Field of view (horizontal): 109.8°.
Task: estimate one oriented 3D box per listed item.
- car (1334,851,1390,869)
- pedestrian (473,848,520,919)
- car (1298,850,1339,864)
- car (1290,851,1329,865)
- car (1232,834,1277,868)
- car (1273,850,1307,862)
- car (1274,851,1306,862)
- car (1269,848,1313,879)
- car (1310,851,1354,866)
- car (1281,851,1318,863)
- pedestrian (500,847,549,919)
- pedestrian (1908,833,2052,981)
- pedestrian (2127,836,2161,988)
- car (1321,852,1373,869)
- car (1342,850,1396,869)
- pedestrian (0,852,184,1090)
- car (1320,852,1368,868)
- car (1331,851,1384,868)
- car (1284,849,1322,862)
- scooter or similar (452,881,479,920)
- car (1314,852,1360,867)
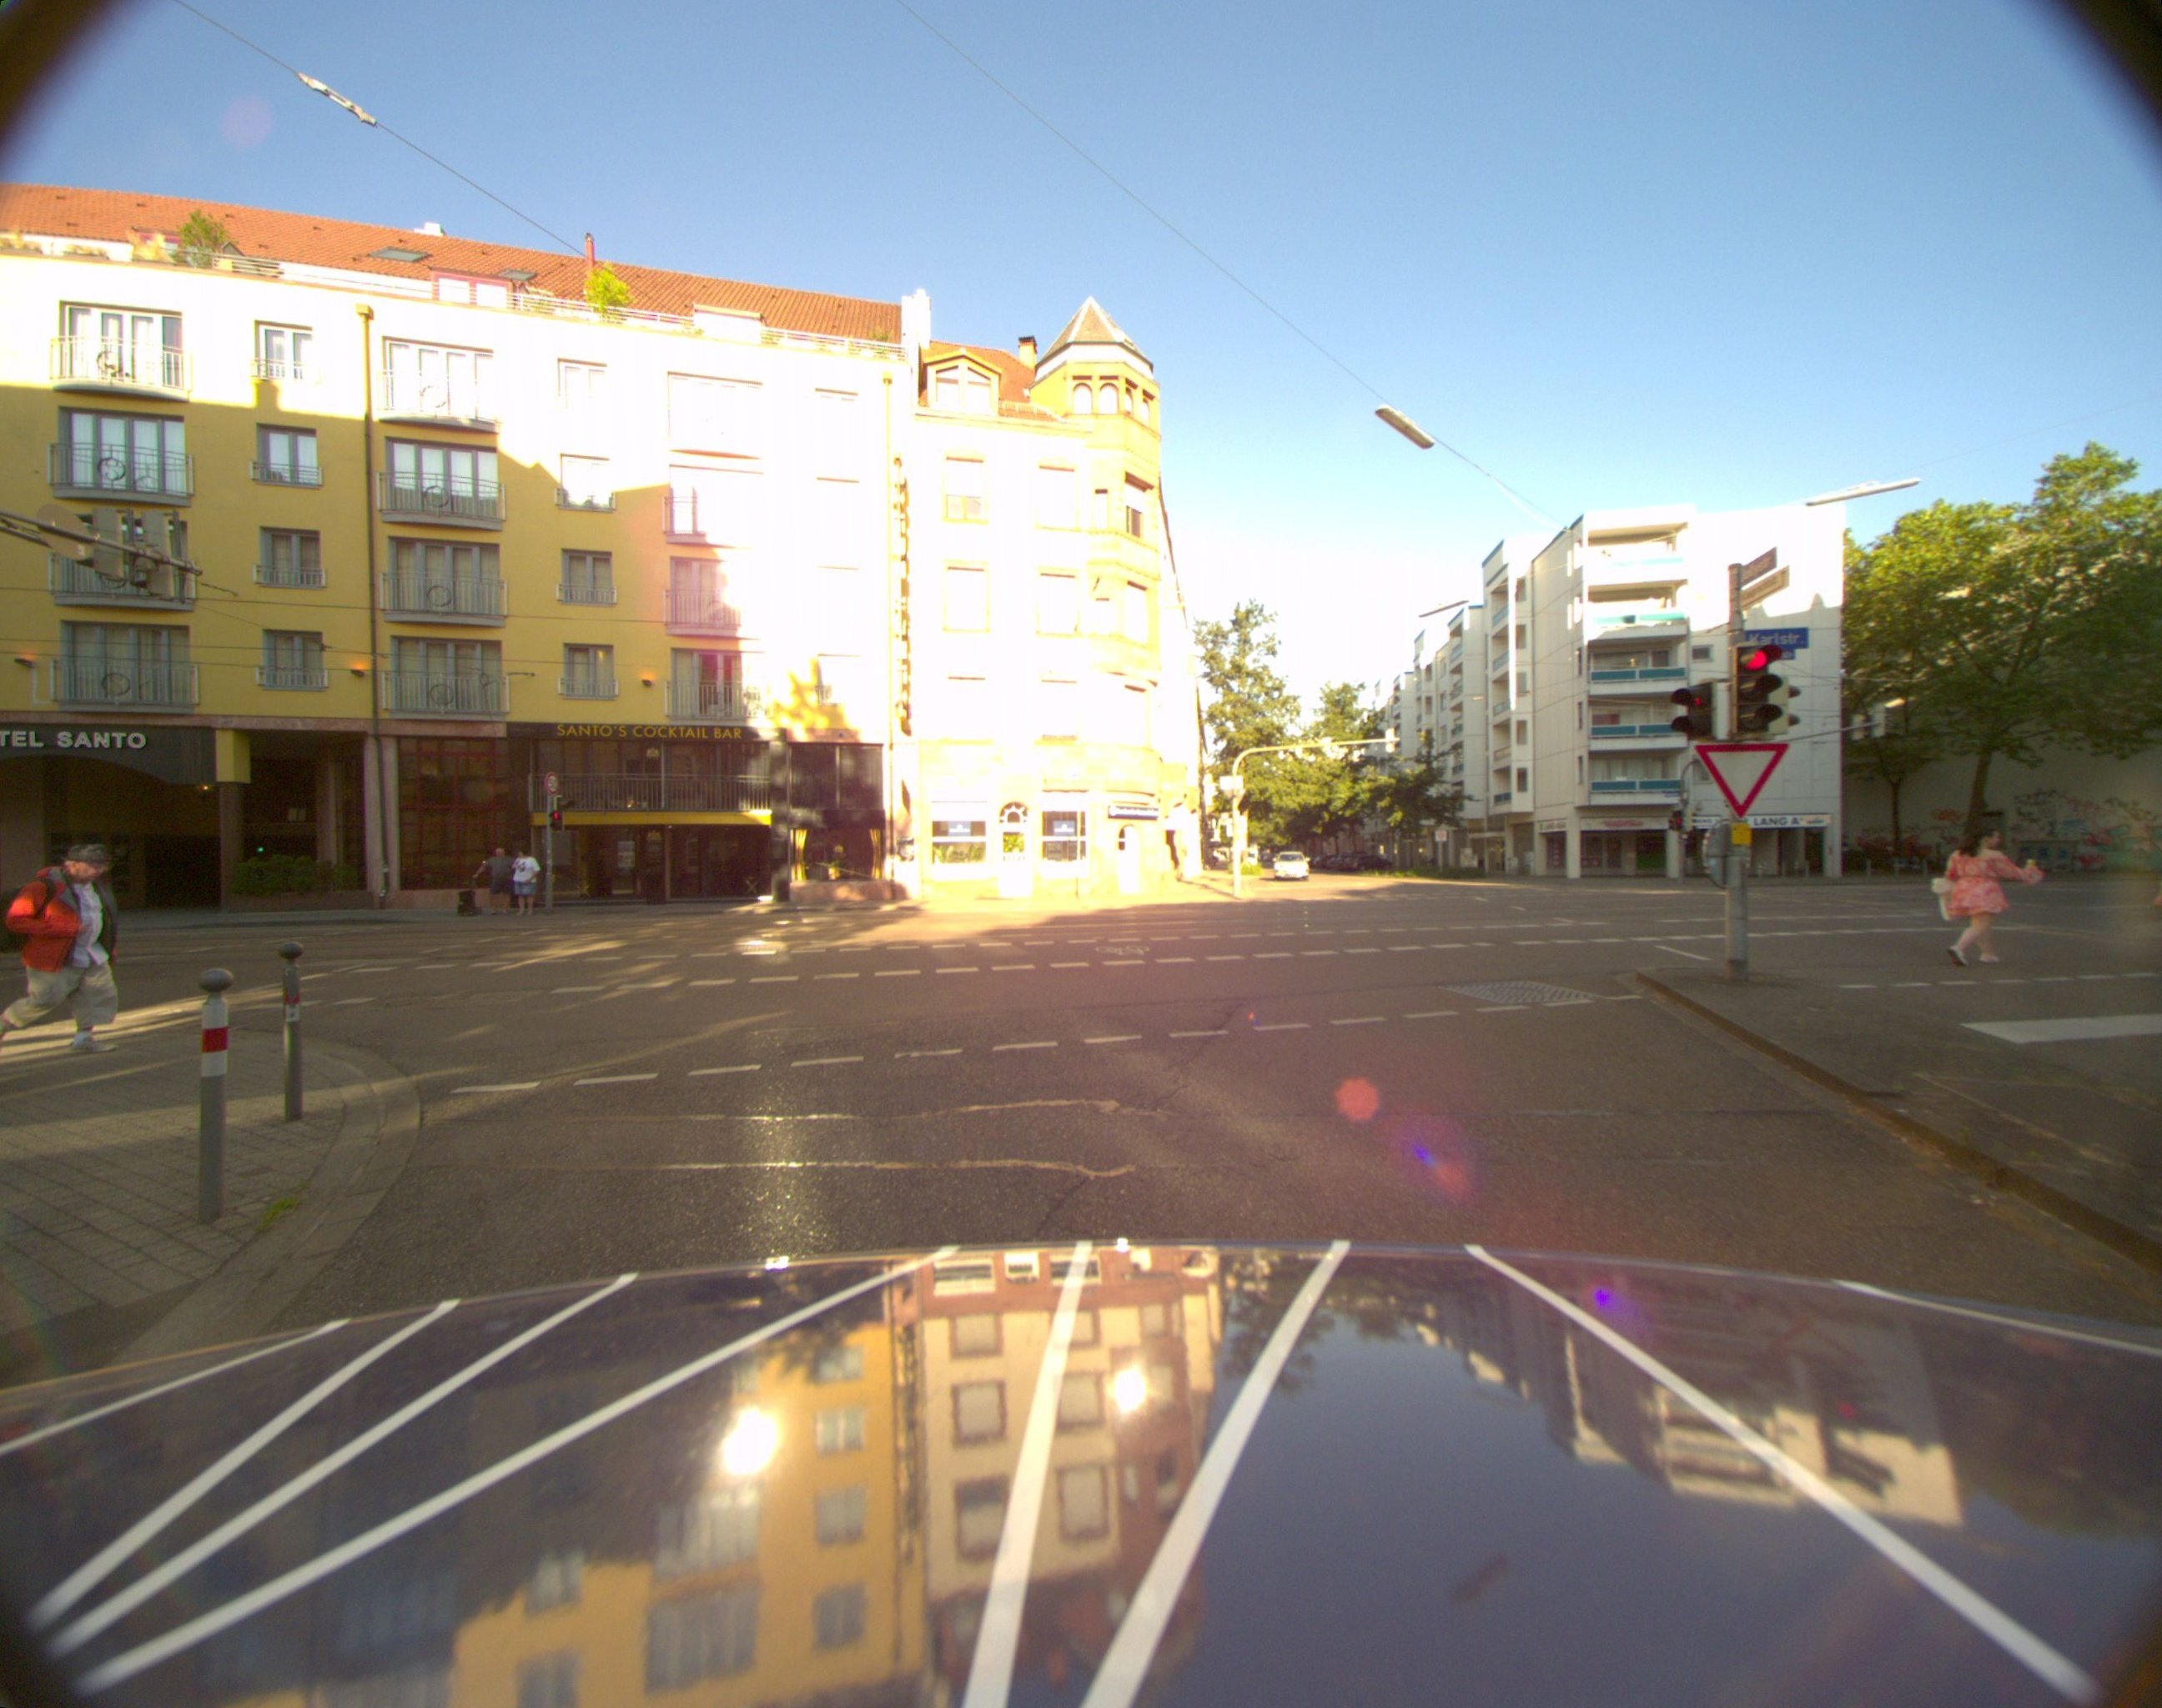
[{"bbox_3d":[25.230,0.561,68.310,4.300,1.576,2.000,0,0,3],"label":"car"},{"bbox_3d":[-15.622,0.770,20.337,0.679,1.831,0.725,-1,4,-12],"label":"pedestrian"},{"bbox_3d":[28.066,0.356,89.788,4.300,1.576,2.001,0,0,4],"label":"car"},{"bbox_3d":[28.159,0.492,93.808,4.300,1.576,2.001,0,0,4],"label":"car"},{"bbox_3d":[16.956,-0.269,74.648,3.322,3.160,8.086,0,0,6],"label":"car"},{"bbox_3d":[29.431,0.297,107.259,4.300,1.576,2.001,0,0,4],"label":"car"},{"bbox_3d":[30.806,0.305,112.117,4.300,1.576,2.001,0,0,4],"label":"car"},{"bbox_3d":[12.174,0.518,44.270,1.997,1.739,4.002,0,0,8],"label":"car"},{"bbox_3d":[27.967,0.488,84.891,4.300,1.576,2.001,0,0,4],"label":"car"},{"bbox_3d":[28.729,0.362,100.055,4.300,1.576,2.001,0,0,4],"label":"car"},{"bbox_3d":[-14.785,0.763,20.200,0.735,1.831,0.725,-1,4,-12],"label":"pedestrian"},{"bbox_3d":[10.941,0.600,9.264,0.985,1.688,0.868,-1,1,-22],"label":"pedestrian"},{"bbox_3d":[12.502,0.640,8.411,0.985,1.688,0.868,-1,1,-22],"label":"pedestrian"},{"bbox_3d":[25.623,0.594,73.294,4.300,1.576,2.000,0,0,3],"label":"car"},{"bbox_3d":[24.909,0.476,65.881,3.996,1.576,2.000,0,0,3],"label":"car"},{"bbox_3d":[-7.873,0.826,5.785,1.176,1.670,1.005,-1,1,-41],"label":"pedestrian"},{"bbox_3d":[27.322,0.649,79.050,4.300,1.576,2.001,0,0,4],"label":"car"},{"bbox_3d":[25.741,0.518,70.853,4.300,1.576,2.000,0,0,3],"label":"car"},{"bbox_3d":[28.359,0.153,97.230,4.300,1.576,2.001,0,0,4],"label":"car"},{"bbox_3d":[-16.147,1.215,19.943,0.357,0.972,0.422,-1,4,-14],"label":"scooter or similar"},{"bbox_3d":[27.751,0.555,82.487,4.300,1.576,2.001,0,0,4],"label":"car"}]
